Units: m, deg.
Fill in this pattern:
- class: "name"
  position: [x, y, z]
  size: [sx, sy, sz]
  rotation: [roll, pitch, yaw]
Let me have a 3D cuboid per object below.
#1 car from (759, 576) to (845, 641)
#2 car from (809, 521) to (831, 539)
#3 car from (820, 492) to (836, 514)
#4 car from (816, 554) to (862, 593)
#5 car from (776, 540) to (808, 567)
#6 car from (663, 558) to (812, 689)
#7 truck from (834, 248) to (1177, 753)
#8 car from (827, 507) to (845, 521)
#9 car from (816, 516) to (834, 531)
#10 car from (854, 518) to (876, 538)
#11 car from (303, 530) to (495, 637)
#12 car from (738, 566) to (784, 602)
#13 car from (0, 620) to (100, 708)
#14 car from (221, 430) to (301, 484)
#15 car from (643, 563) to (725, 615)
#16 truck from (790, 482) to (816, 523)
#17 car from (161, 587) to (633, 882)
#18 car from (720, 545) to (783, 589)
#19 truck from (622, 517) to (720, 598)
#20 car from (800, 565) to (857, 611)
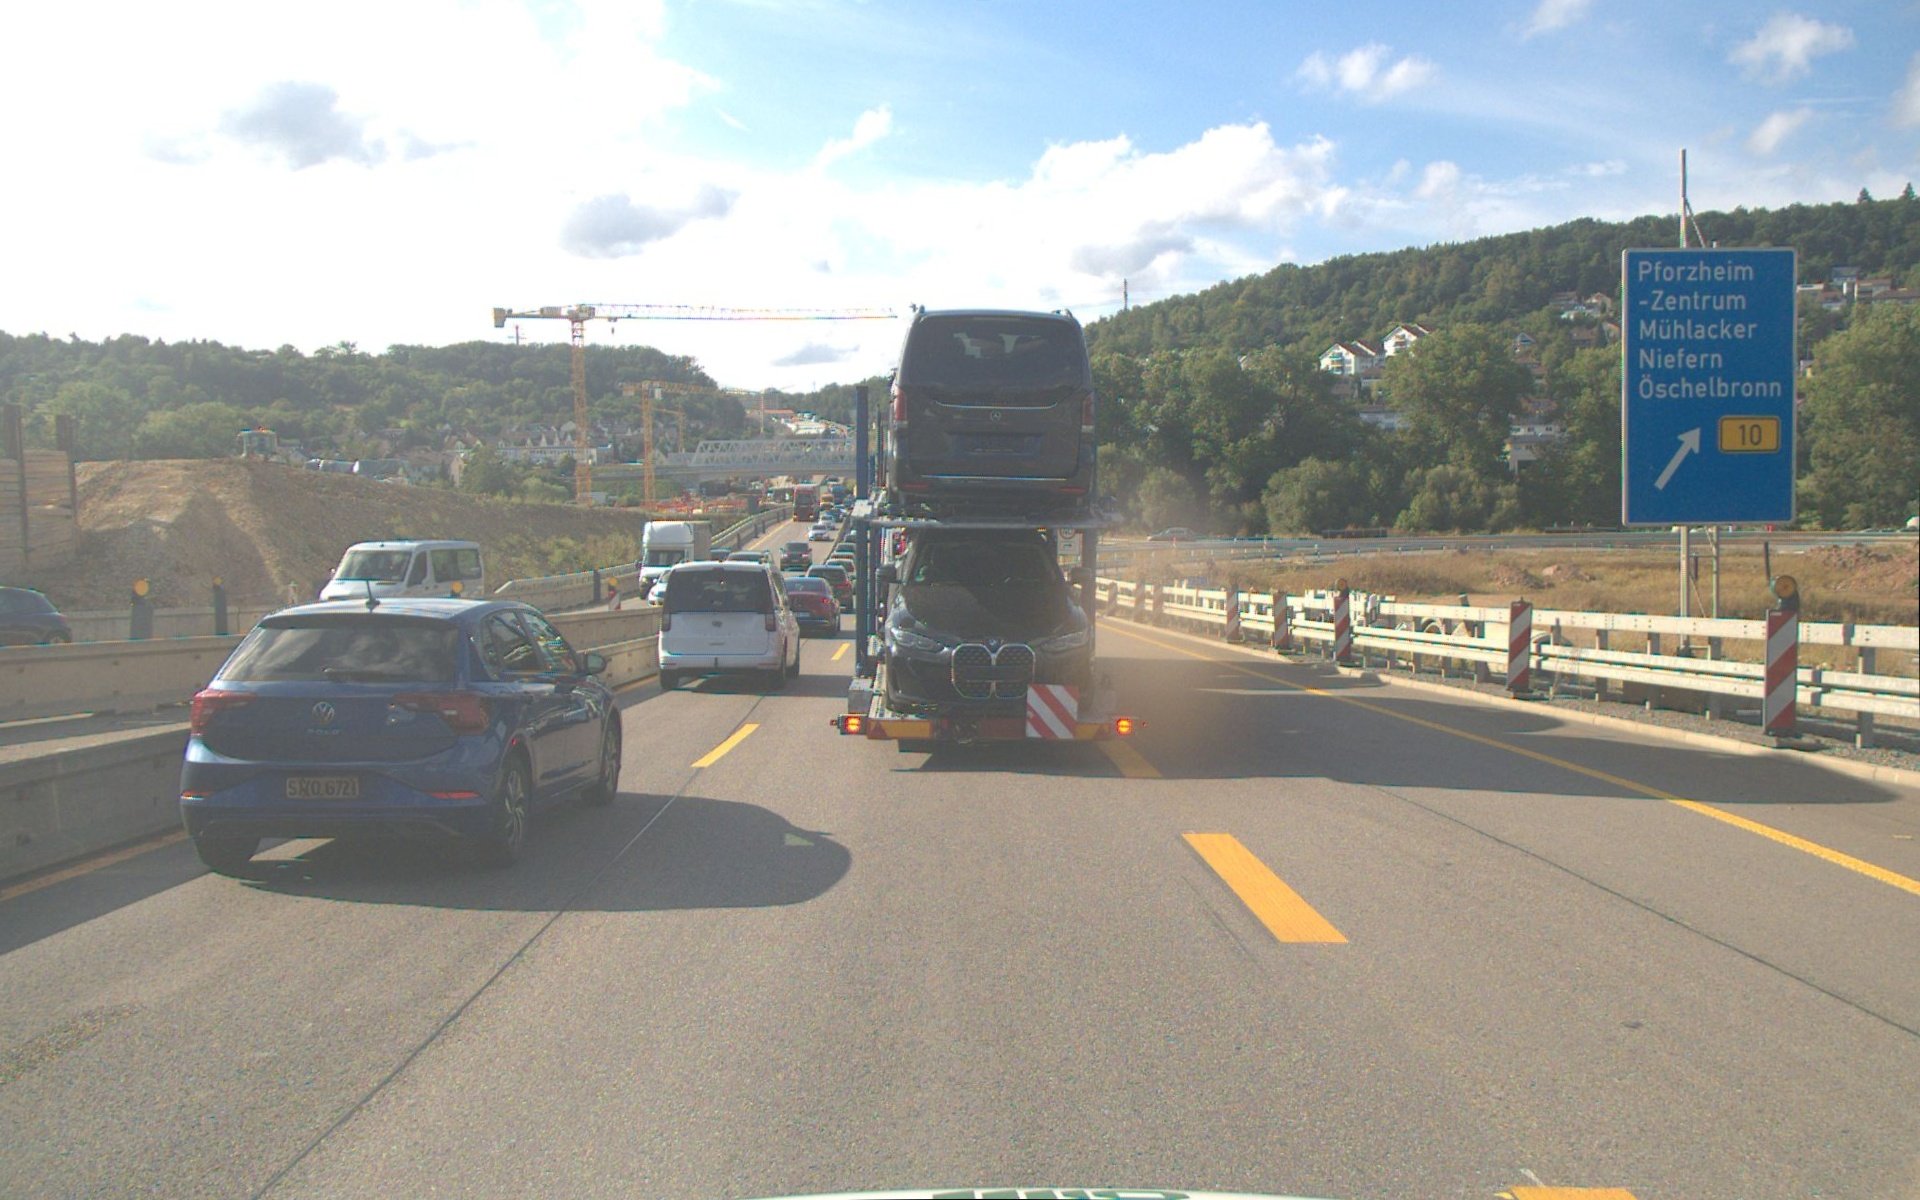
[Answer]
- class: "car"
  position: [-4.046, 0.214, 42.947]
  size: [1.953, 1.584, 4.399]
  rotation: [0, 0, -2]
- class: "car"
  position: [-12.729, -6.361, 150.866]
  size: [1.815, 1.465, 4.556]
  rotation: [0, 1, -3]
- class: "car"
  position: [-19.700, -14.427, 246.960]
  size: [1.953, 2.930, 6.062]
  rotation: [0, 0, -1]
- class: "car"
  position: [-5.594, -1.199, 76.865]
  size: [1.953, 1.695, 3.999]
  rotation: [0, 0, -2]
- class: "car"
  position: [-10.761, -2.984, 106.146]
  size: [1.815, 1.664, 4.747]
  rotation: [0, 1, -3]
- class: "car"
  position: [-3.271, 0.336, 25.016]
  size: [1.786, 1.823, 3.999]
  rotation: [0, 0, -1]
- class: "truck"
  position: [0.124, -0.804, 22.833]
  size: [2.697, 4.024, 18.883]
  rotation: [1, 0, -2]
- class: "car"
  position: [-14.409, -10.002, 192.578]
  size: [1.784, 1.465, 4.613]
  rotation: [0, 1, -1]
- class: "car"
  position: [-14.012, -7.998, 172.186]
  size: [1.719, 1.465, 3.803]
  rotation: [0, 1, -3]
- class: "car"
  position: [-8.527, -6.444, 148.174]
  size: [1.808, 1.677, 4.501]
  rotation: [0, 1, -5]
- class: "car"
  position: [-13.632, -0.367, 40.704]
  size: [2.210, 2.444, 5.871]
  rotation: [0, 0, 6]
- class: "car"
  position: [-10.636, -0.833, 88.506]
  size: [1.953, 1.835, 4.444]
  rotation: [0, 0, -1]
- class: "car"
  position: [-15.368, 0.979, 25.370]
  size: [1.879, 1.295, 4.003]
  rotation: [0, 0, 8]
- class: "car"
  position: [-36.252, -7.402, 85.897]
  size: [1.954, 2.177, 5.318]
  rotation: [-5, 0, -3]
- class: "car"
  position: [-9.276, -0.403, 55.884]
  size: [2.082, 1.703, 4.272]
  rotation: [0, 1, -1]
- class: "truck"
  position: [-18.339, -11.358, 193.314]
  size: [2.857, 4.463, 6.281]
  rotation: [1, 1, -5]
- class: "car"
  position: [-3.169, 0.705, 10.176]
  size: [1.687, 1.447, 3.997]
  rotation: [0, -1, -3]
- class: "car"
  position: [-8.901, -1.412, 70.986]
  size: [2.082, 1.796, 5.031]
  rotation: [0, 1, -1]
- class: "truck"
  position: [-12.722, -1.793, 73.458]
  size: [2.644, 3.369, 7.540]
  rotation: [0, 0, 3]
- class: "car"
  position: [-4.716, -0.403, 59.290]
  size: [1.955, 1.579, 3.996]
  rotation: [0, 0, -5]
